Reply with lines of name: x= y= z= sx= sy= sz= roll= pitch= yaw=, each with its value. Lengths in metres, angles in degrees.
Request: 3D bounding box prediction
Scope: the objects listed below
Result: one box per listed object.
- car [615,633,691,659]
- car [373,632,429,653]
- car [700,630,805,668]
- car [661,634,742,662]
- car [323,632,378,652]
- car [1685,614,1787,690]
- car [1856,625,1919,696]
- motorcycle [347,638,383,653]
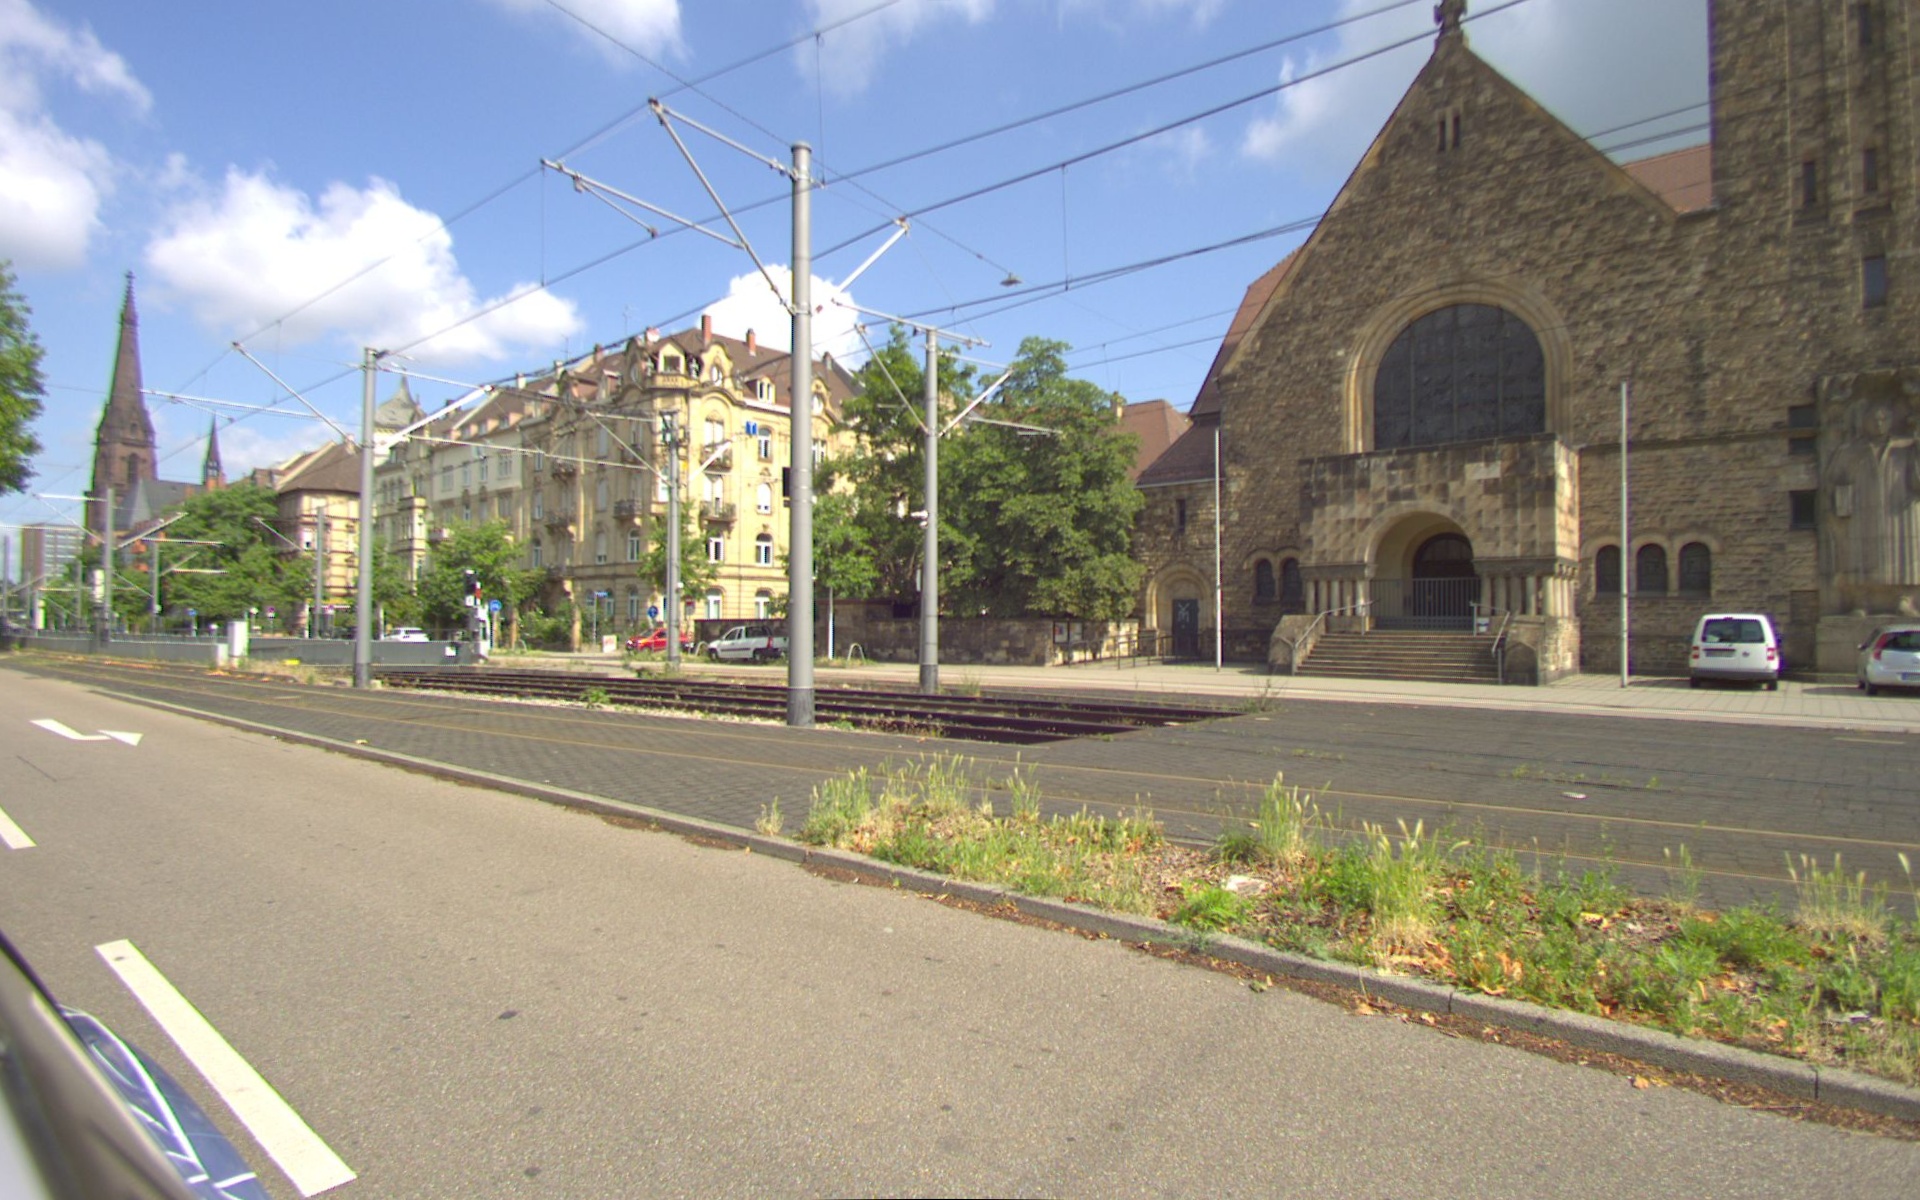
car: x=-17.699 y=2.627 z=58.403 sx=1.933 sy=1.475 sz=3.738 roll=-2 pitch=-3 yaw=44
car: x=-36.309 y=2.748 z=65.703 sx=4.308 sy=1.338 sz=1.734 roll=-2 pitch=-3 yaw=39
car: x=-8.557 y=1.981 z=41.588 sx=4.410 sy=1.516 sz=1.911 roll=-2 pitch=-3 yaw=39
car: x=-13.799 y=2.550 z=54.156 sx=1.723 sy=1.475 sz=3.921 roll=-2 pitch=-3 yaw=41
car: x=-43.009 y=2.960 z=71.405 sx=4.096 sy=1.337 sz=2.000 roll=-2 pitch=-3 yaw=39
car: x=19.579 y=1.271 z=25.559 sx=1.892 sy=1.762 sz=3.832 roll=-2 pitch=-3 yaw=38
car: x=21.541 y=1.339 z=22.810 sx=1.853 sy=1.514 sz=3.232 roll=-2 pitch=-3 yaw=39
motorcycle: x=-40.852 y=3.111 z=69.535 sx=1.416 sy=0.949 sz=1.742 roll=-2 pitch=-4 yaw=40
